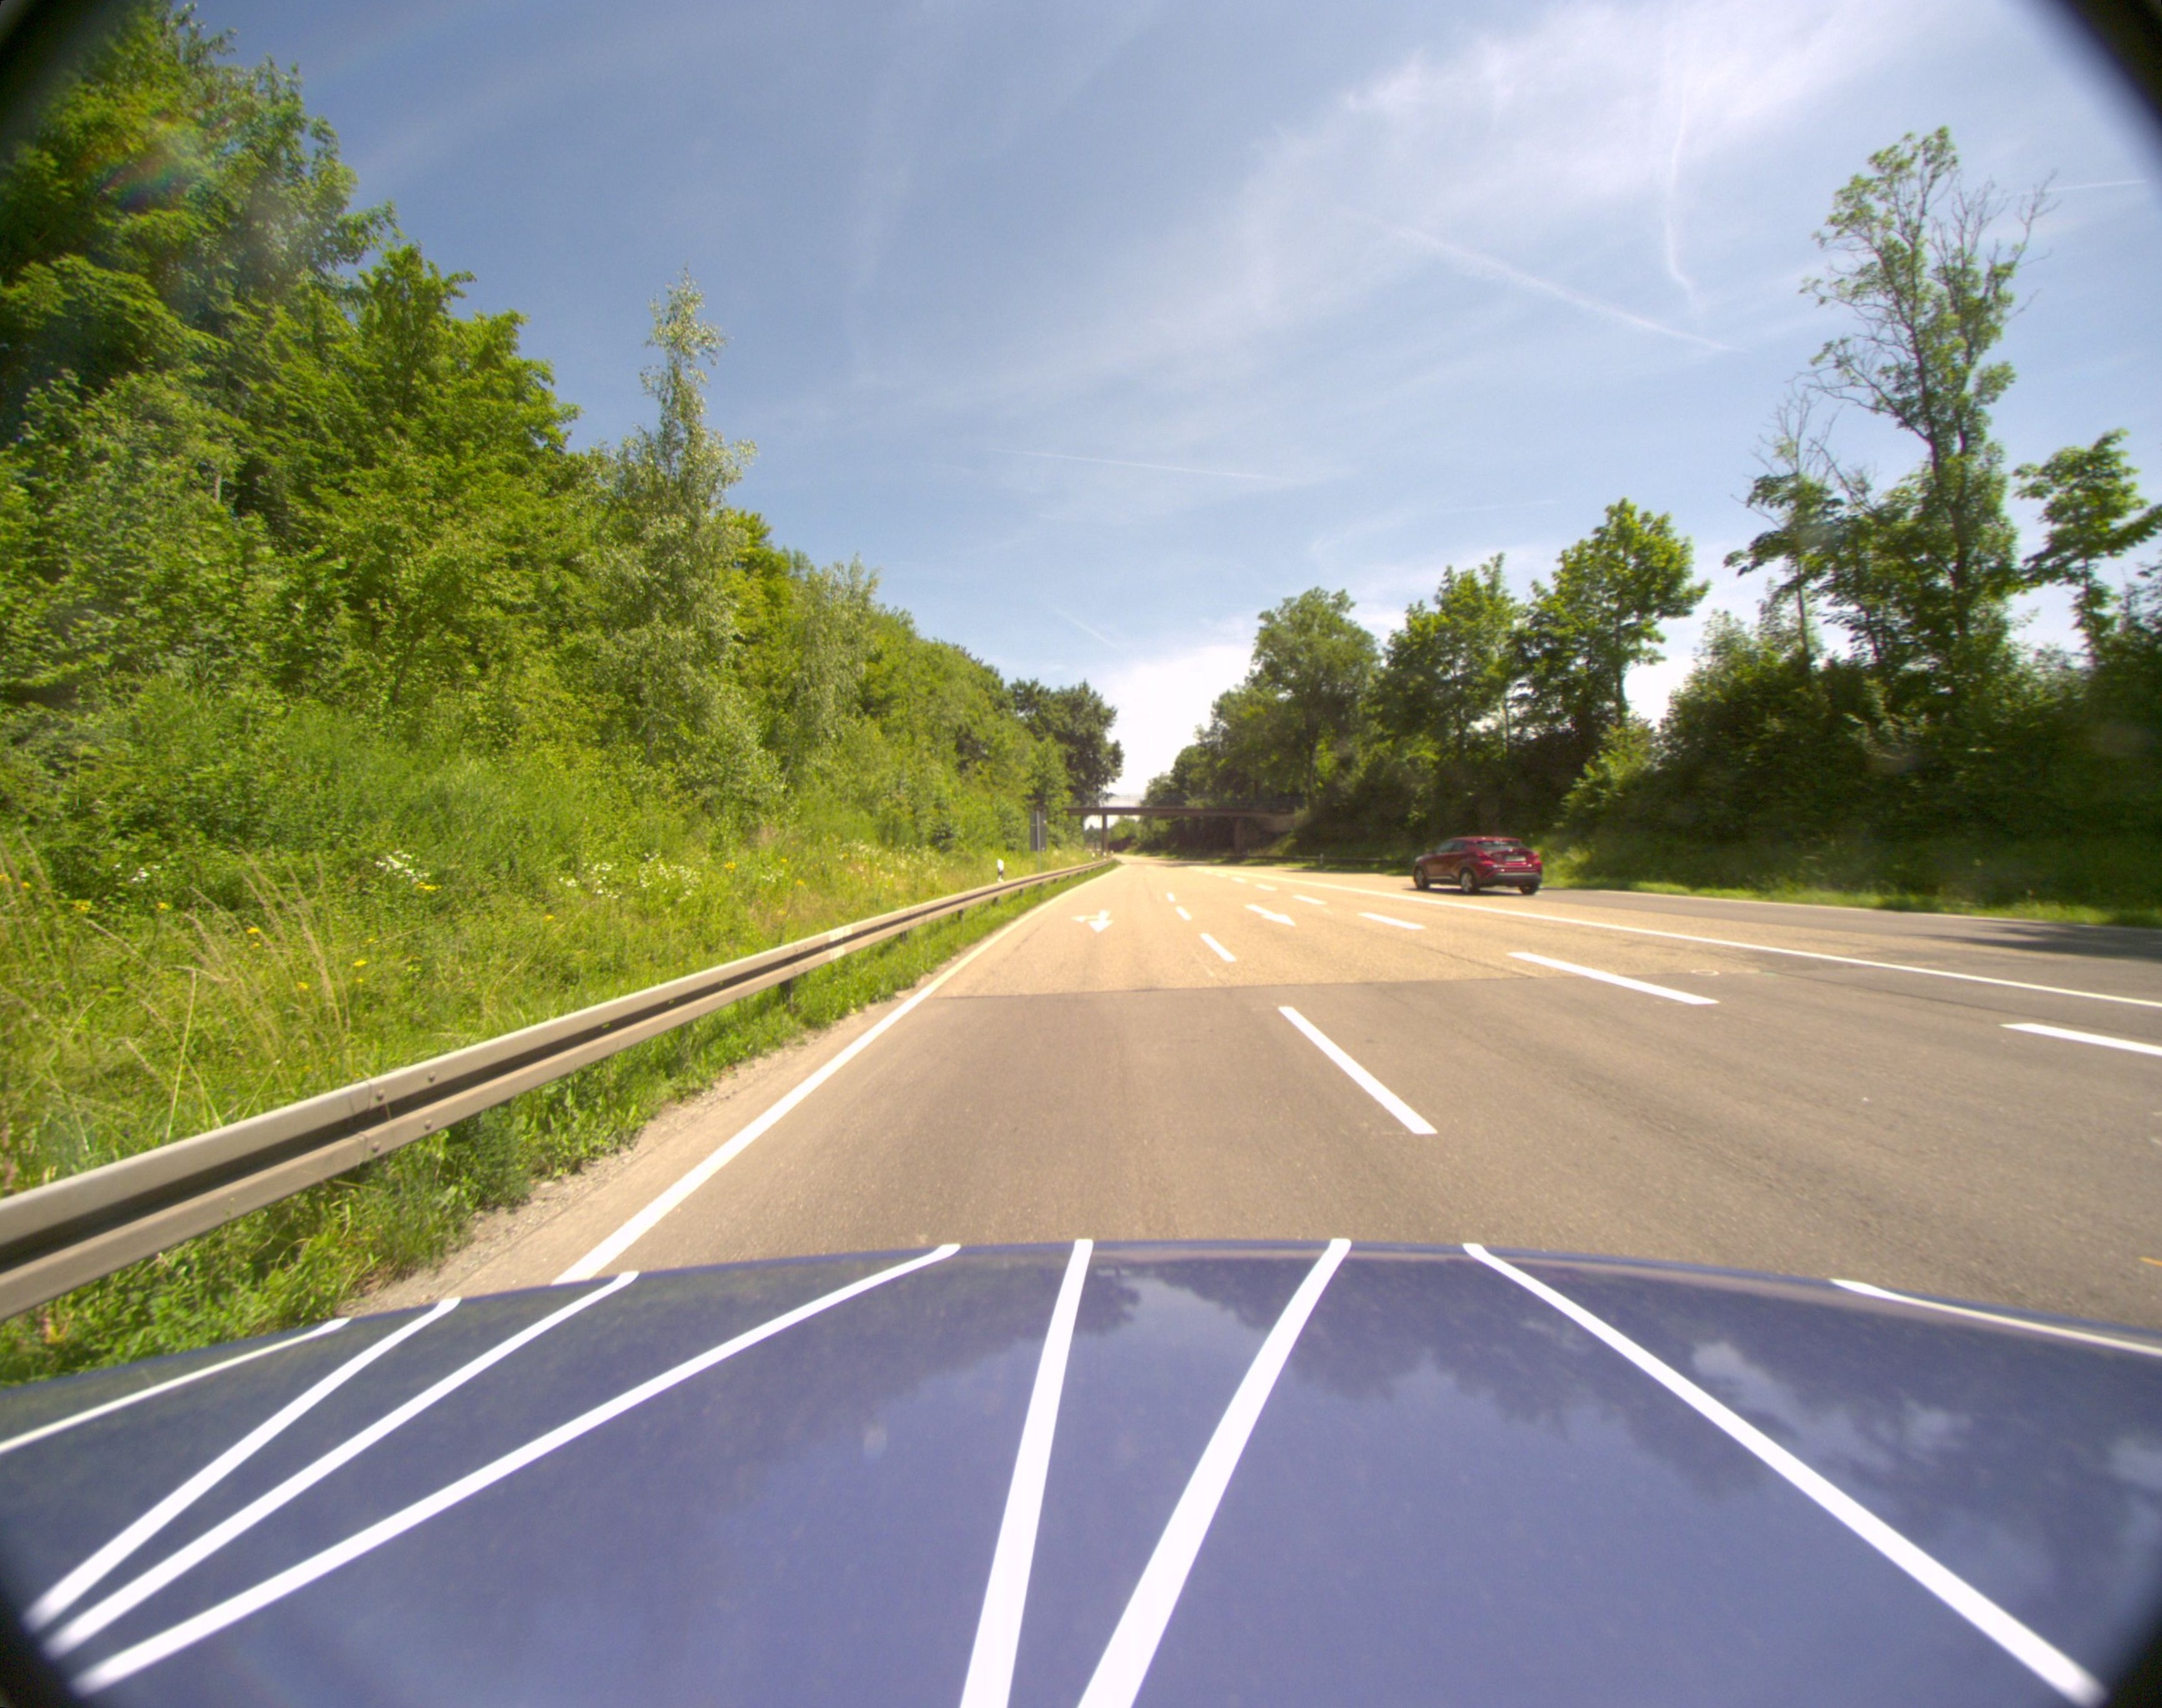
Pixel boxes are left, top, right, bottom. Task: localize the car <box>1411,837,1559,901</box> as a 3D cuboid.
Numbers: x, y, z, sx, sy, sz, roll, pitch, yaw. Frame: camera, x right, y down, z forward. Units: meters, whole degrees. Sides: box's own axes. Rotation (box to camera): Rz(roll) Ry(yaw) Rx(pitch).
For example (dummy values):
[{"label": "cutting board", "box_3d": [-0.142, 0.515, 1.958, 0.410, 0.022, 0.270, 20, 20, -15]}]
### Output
[{"label": "car", "box_3d": [10.836, 0.338, 20.705, 1.908, 1.500, 3.763, -3, 1, -2]}]
